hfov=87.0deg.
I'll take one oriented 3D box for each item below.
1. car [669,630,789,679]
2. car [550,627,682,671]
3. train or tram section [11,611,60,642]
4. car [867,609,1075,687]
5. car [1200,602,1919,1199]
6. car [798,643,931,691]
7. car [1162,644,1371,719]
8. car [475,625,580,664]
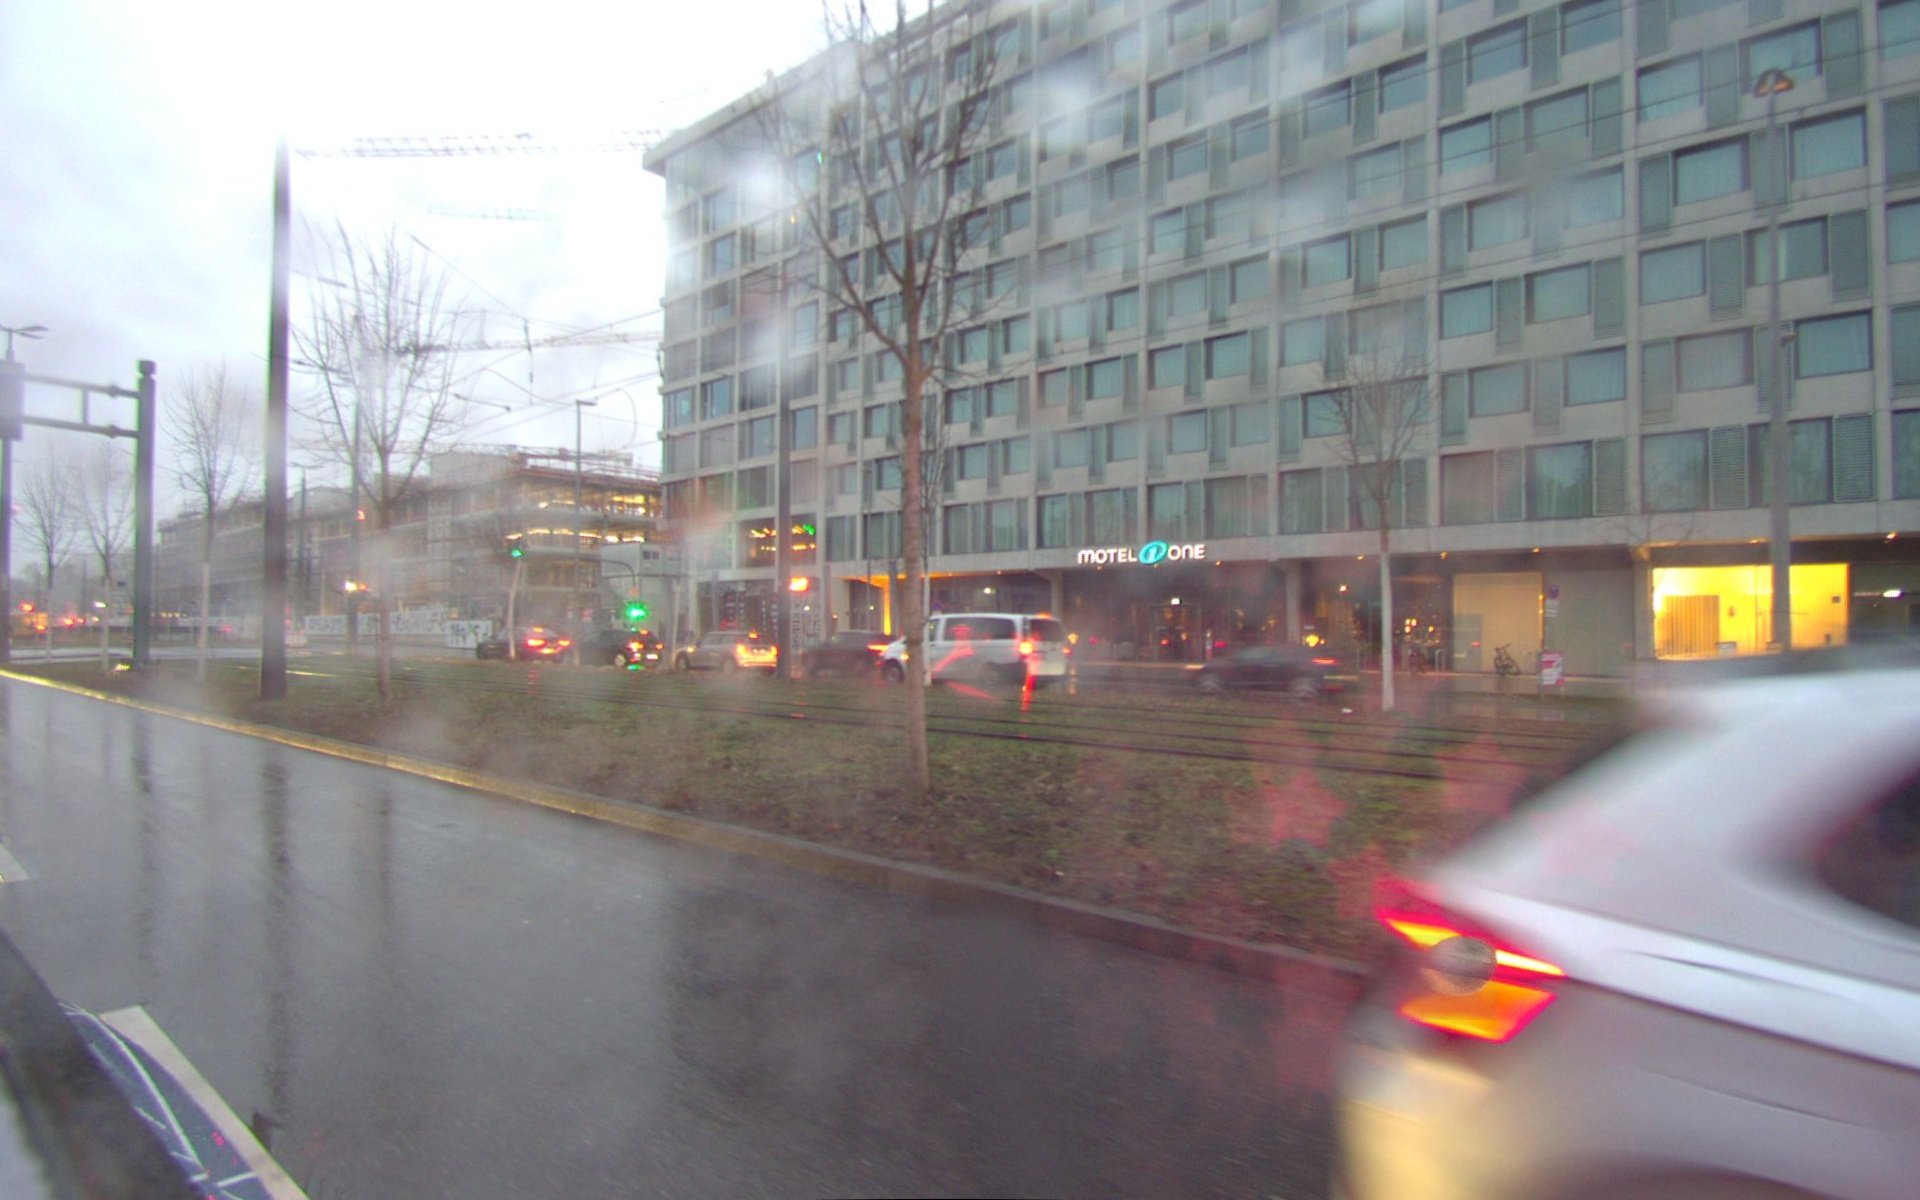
[{"bbox_3d":[-7.345,1.679,32.033,3.704,1.442,1.876,-2,-3,41],"label":"car"},{"bbox_3d":[-12.439,1.731,36.579,4.425,1.508,1.983,-1,-2,26],"label":"car"},{"bbox_3d":[-107.637,3.102,117.699,14.264,3.513,2.925,-2,-3,43],"label":"train or tram section"},{"bbox_3d":[0.174,1.134,24.911,5.114,1.732,1.876,-1,-3,40],"label":"car"},{"bbox_3d":[2.469,0.681,1.042,3.980,1.381,1.744,-1,-1,41],"label":"car"},{"bbox_3d":[-3.394,2.288,35.453,4.790,1.528,1.876,-2,-2,41],"label":"car"},{"bbox_3d":[7.955,2.044,26.580,4.915,1.732,1.876,-2,-2,42],"label":"car"},{"bbox_3d":[-17.560,1.784,40.981,5.032,1.479,1.972,-2,-3,42],"label":"car"}]
